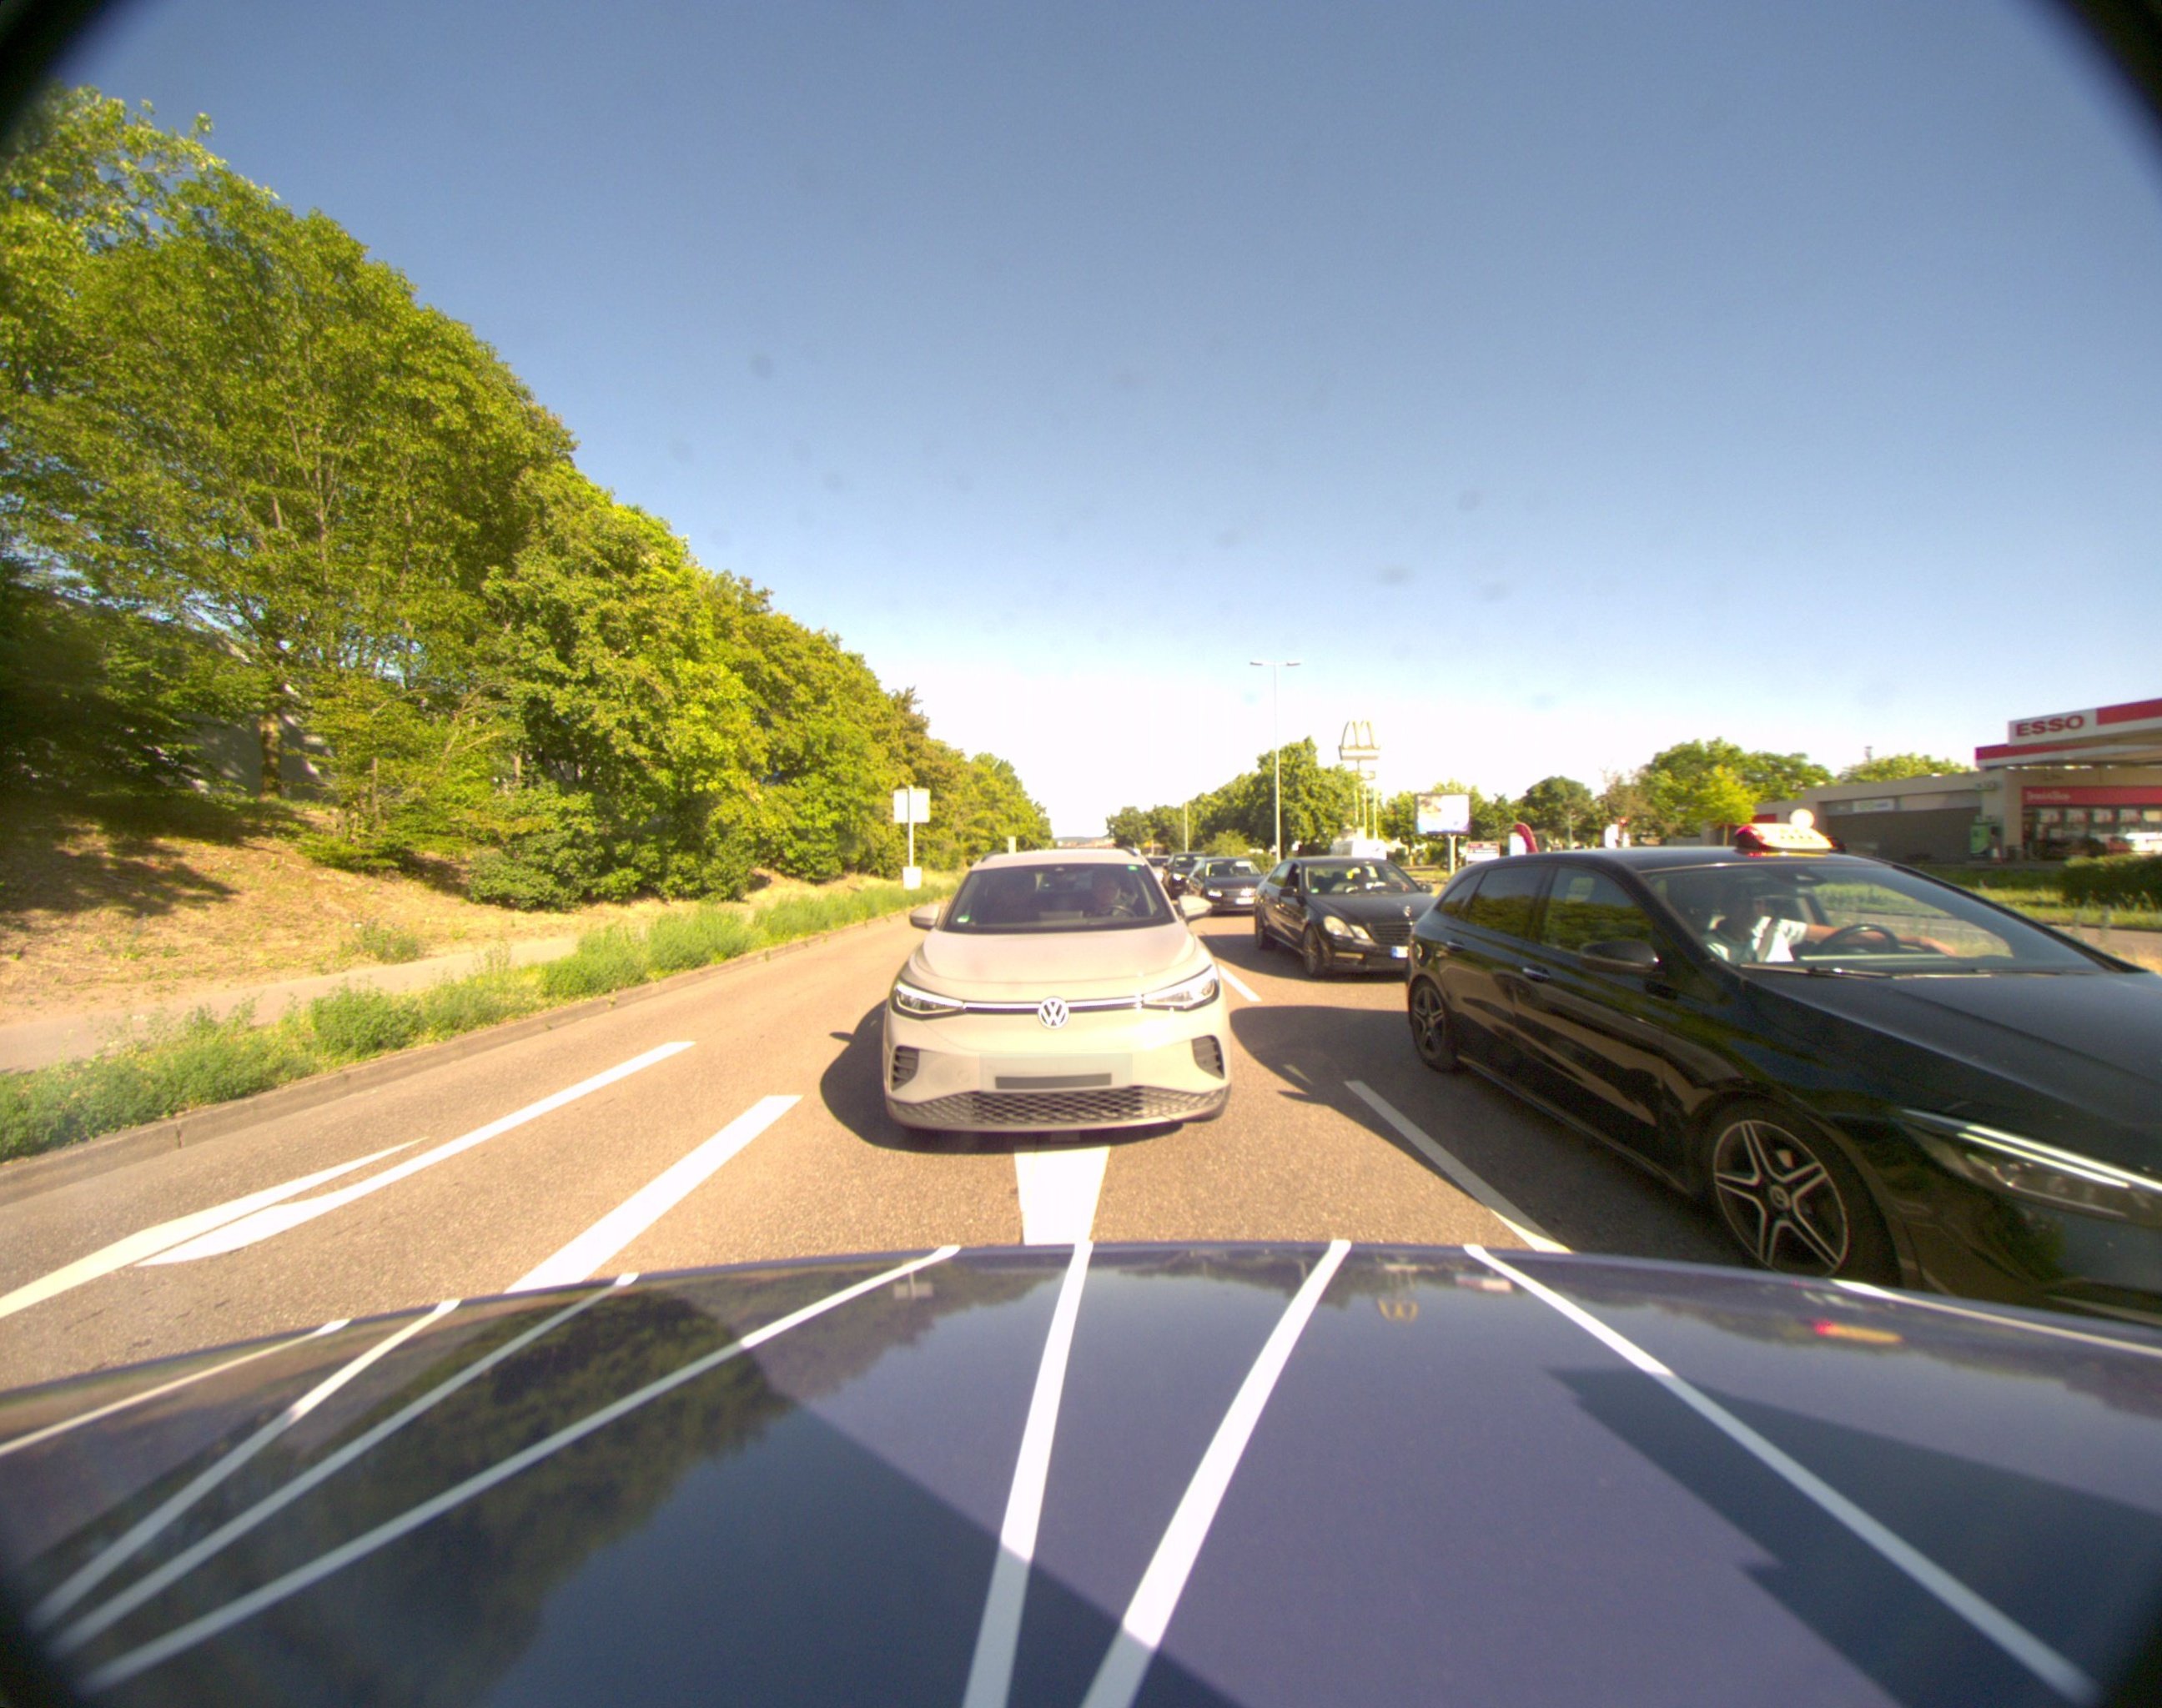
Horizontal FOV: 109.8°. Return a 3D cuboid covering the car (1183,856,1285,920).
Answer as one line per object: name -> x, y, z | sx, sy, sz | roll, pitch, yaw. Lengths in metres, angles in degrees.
car -> 3.944, 0.823, 20.268 | 1.862, 1.472, 4.403 | -1, 0, 1

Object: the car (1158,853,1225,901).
car -> 3.937, 0.768, 27.760 | 1.862, 1.578, 4.403 | -1, 0, 1

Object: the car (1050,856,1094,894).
car -> -0.347, 0.881, 33.250 | 1.765, 1.503, 3.760 | -2, 0, 1

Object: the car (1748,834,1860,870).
car -> 37.702, -0.103, 39.762 | 1.998, 1.759, 4.118 | -2, 0, 2

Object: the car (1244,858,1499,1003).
car -> 3.633, 0.846, 10.474 | 1.862, 1.515, 4.403 | -1, 0, 1

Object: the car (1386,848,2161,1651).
car -> 3.154, 0.805, 3.601 | 1.804, 1.616, 4.188 | -1, 0, 2

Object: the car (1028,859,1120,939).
car -> -0.115, 0.894, 16.812 | 1.765, 1.503, 3.760 | -2, 0, 1

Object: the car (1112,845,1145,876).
car -> 3.710, 0.477, 60.140 | 2.289, 2.274, 5.381 | -1, 0, 1

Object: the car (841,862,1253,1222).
car -> -0.133, 0.895, 5.495 | 1.871, 1.588, 3.932 | -2, 0, 1

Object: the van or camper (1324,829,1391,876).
van or camper -> 16.239, -0.102, 45.069 | 2.182, 2.557, 6.757 | -1, 0, 7

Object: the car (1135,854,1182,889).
car -> 3.697, 0.794, 36.770 | 1.862, 1.578, 4.403 | -1, 0, 1

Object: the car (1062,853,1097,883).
car -> -0.050, 0.742, 41.006 | 1.765, 1.503, 3.760 | -2, 0, 1

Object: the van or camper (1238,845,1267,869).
van or camper -> 20.389, 0.337, 90.591 | 1.999, 2.635, 5.956 | 1, 0, 0
